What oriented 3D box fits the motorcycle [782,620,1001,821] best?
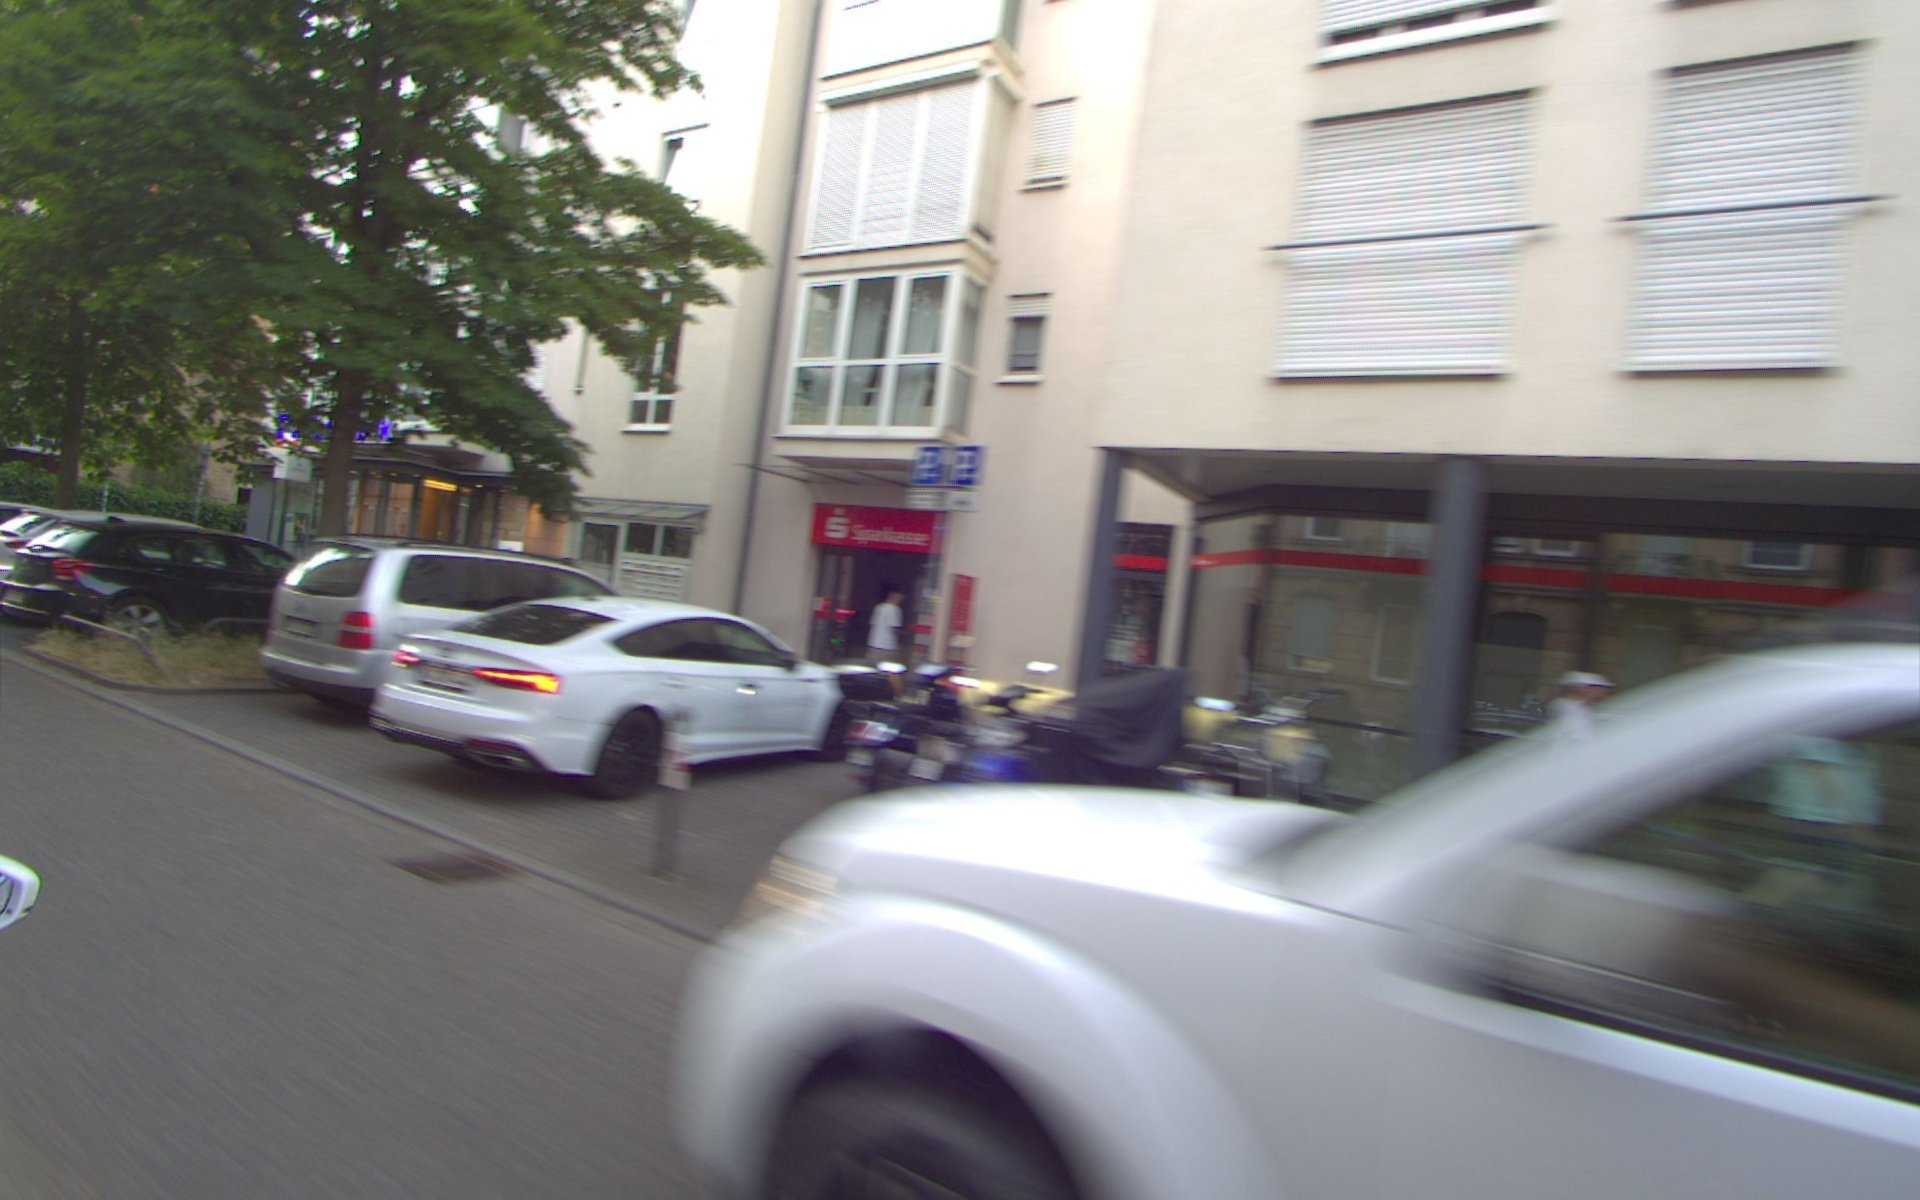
[{"bbox_3d":[-0.490,0.929,8.370,0.705,1.387,2.060,7,1,28],"label":"motorcycle"}]

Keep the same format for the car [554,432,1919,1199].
[{"bbox_3d":[1.906,0.909,1.586,5.183,1.874,1.915,6,-2,32],"label":"car"}]

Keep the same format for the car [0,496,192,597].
[{"bbox_3d":[-16.187,-1.002,17.469,1.852,1.471,4.087,7,1,34],"label":"car"}]

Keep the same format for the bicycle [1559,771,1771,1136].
[{"bbox_3d":[3.106,1.417,4.484,0.556,1.036,1.771,6,2,34],"label":"bicycle"}]

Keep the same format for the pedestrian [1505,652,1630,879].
[{"bbox_3d":[5.127,1.362,8.518,0.651,1.744,0.663,9,1,31],"label":"pedestrian"}]

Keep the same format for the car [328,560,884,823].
[{"bbox_3d":[-2.570,0.663,8.569,1.748,1.473,4.433,7,0,25],"label":"car"}]

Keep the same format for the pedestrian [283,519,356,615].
[{"bbox_3d":[-12.383,-0.630,19.453,0.947,1.738,0.728,6,1,32],"label":"pedestrian"}]

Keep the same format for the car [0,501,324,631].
[{"bbox_3d":[-11.338,-0.426,14.000,1.705,1.471,3.800,7,1,26],"label":"car"}]

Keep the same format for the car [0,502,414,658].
[{"bbox_3d":[-9.300,-0.166,12.497,1.797,1.474,3.994,7,0,29],"label":"car"}]

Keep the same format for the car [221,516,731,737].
[{"bbox_3d":[-4.616,0.310,10.347,1.717,1.668,4.404,7,0,31],"label":"car"}]

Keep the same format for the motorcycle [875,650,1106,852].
[{"bbox_3d":[0.310,1.072,7.737,0.705,1.259,2.058,7,1,32],"label":"motorcycle"}]

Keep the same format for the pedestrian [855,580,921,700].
[{"bbox_3d":[-1.112,0.635,15.624,0.577,1.773,0.627,6,-2,28],"label":"pedestrian"}]

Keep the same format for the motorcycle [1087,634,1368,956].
[{"bbox_3d":[1.804,1.078,6.378,0.811,1.569,2.492,6,0,34],"label":"motorcycle"}]

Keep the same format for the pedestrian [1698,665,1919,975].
[{"bbox_3d":[5.585,1.375,6.616,0.900,1.745,0.772,9,3,42],"label":"pedestrian"}]

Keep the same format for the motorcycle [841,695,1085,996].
[{"bbox_3d":[0.126,1.149,5.364,0.651,1.091,2.064,6,0,16],"label":"motorcycle"}]
